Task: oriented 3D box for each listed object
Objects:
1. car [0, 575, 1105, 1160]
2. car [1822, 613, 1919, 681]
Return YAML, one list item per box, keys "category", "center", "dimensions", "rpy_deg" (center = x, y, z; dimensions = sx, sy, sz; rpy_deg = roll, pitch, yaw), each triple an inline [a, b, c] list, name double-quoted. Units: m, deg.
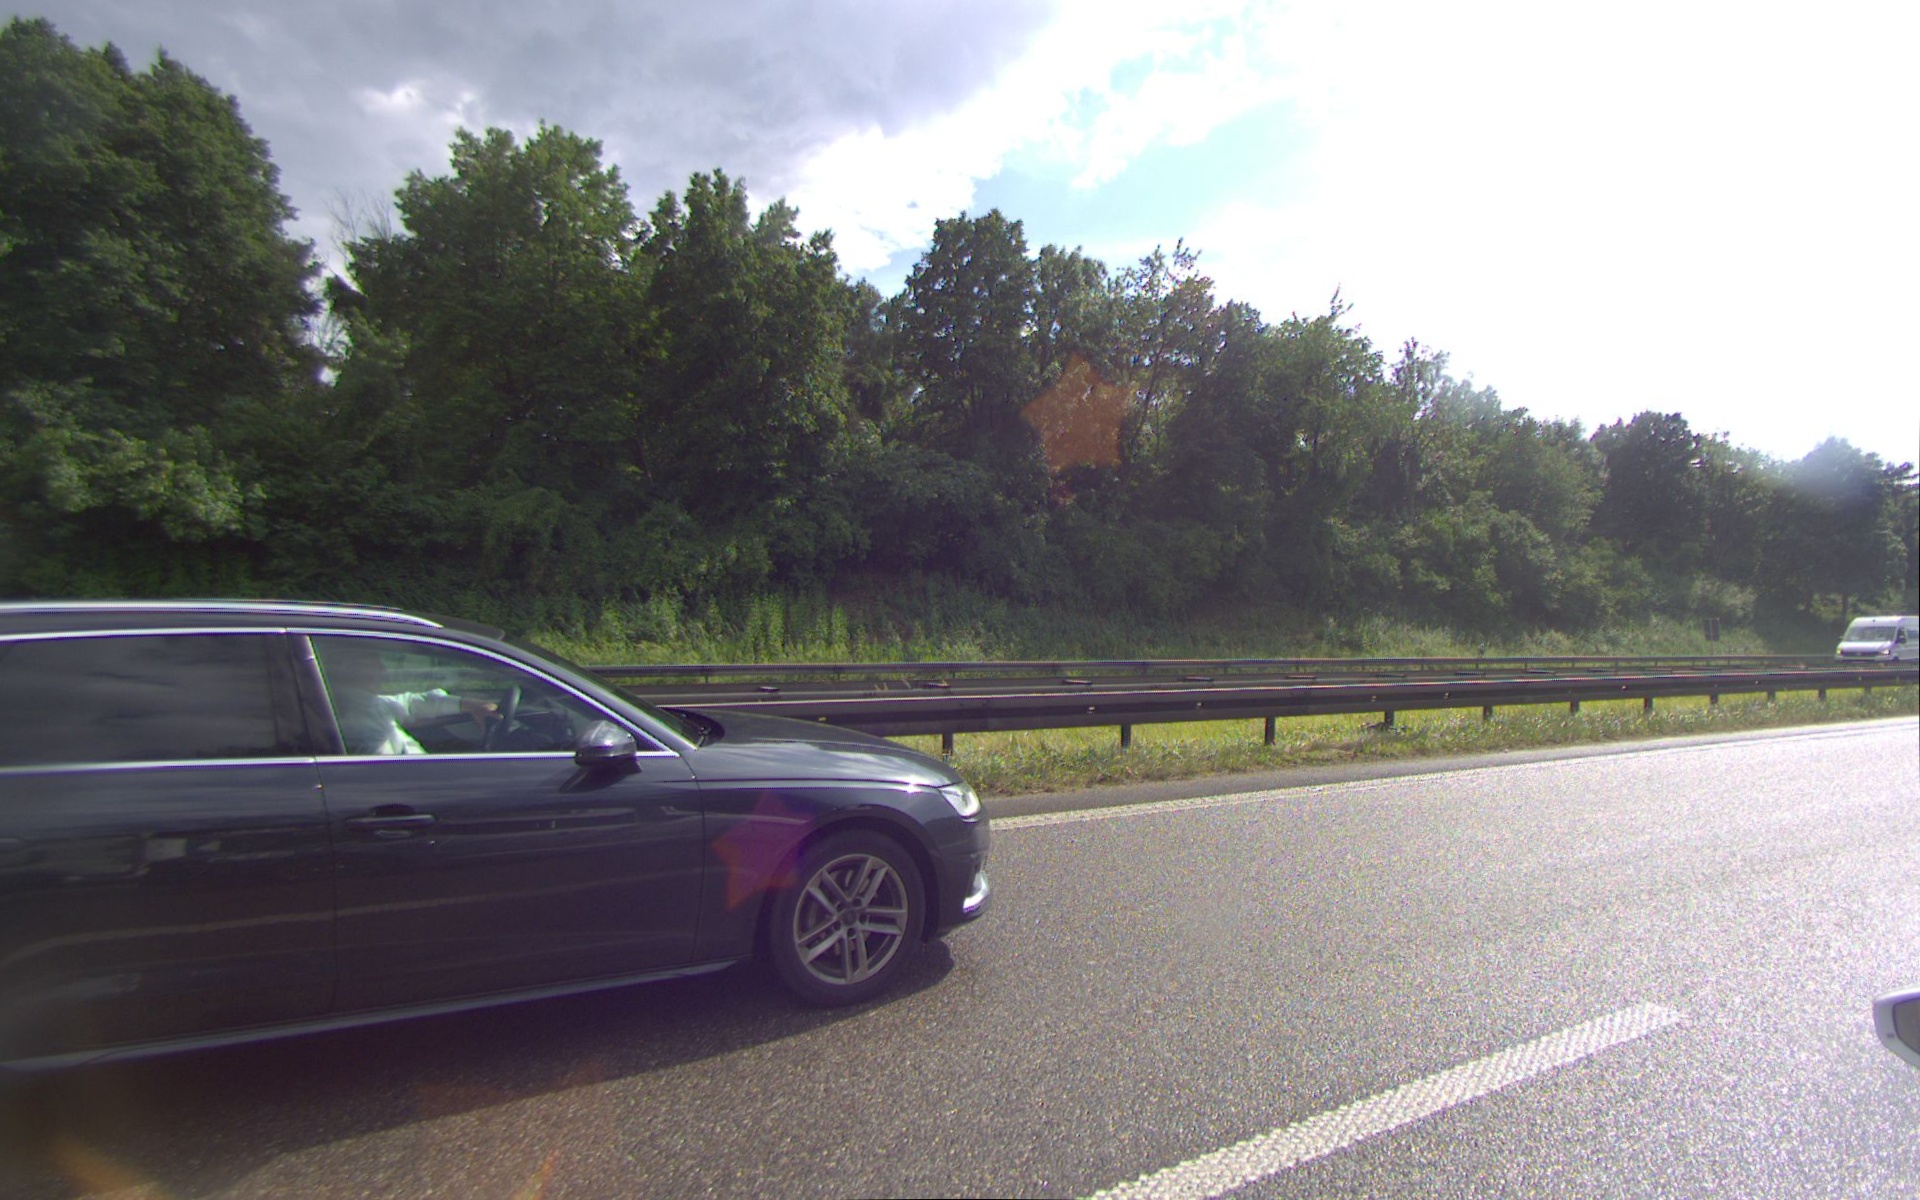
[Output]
- category: "car"
  center: [-1.912, 0.678, 3.760]
  dimensions: [4.782, 1.437, 1.786]
  rpy_deg: [2, 0, -30]
- category: "car"
  center: [42.403, 2.132, 46.114]
  dimensions: [6.852, 2.908, 2.251]
  rpy_deg: [2, 0, -31]
